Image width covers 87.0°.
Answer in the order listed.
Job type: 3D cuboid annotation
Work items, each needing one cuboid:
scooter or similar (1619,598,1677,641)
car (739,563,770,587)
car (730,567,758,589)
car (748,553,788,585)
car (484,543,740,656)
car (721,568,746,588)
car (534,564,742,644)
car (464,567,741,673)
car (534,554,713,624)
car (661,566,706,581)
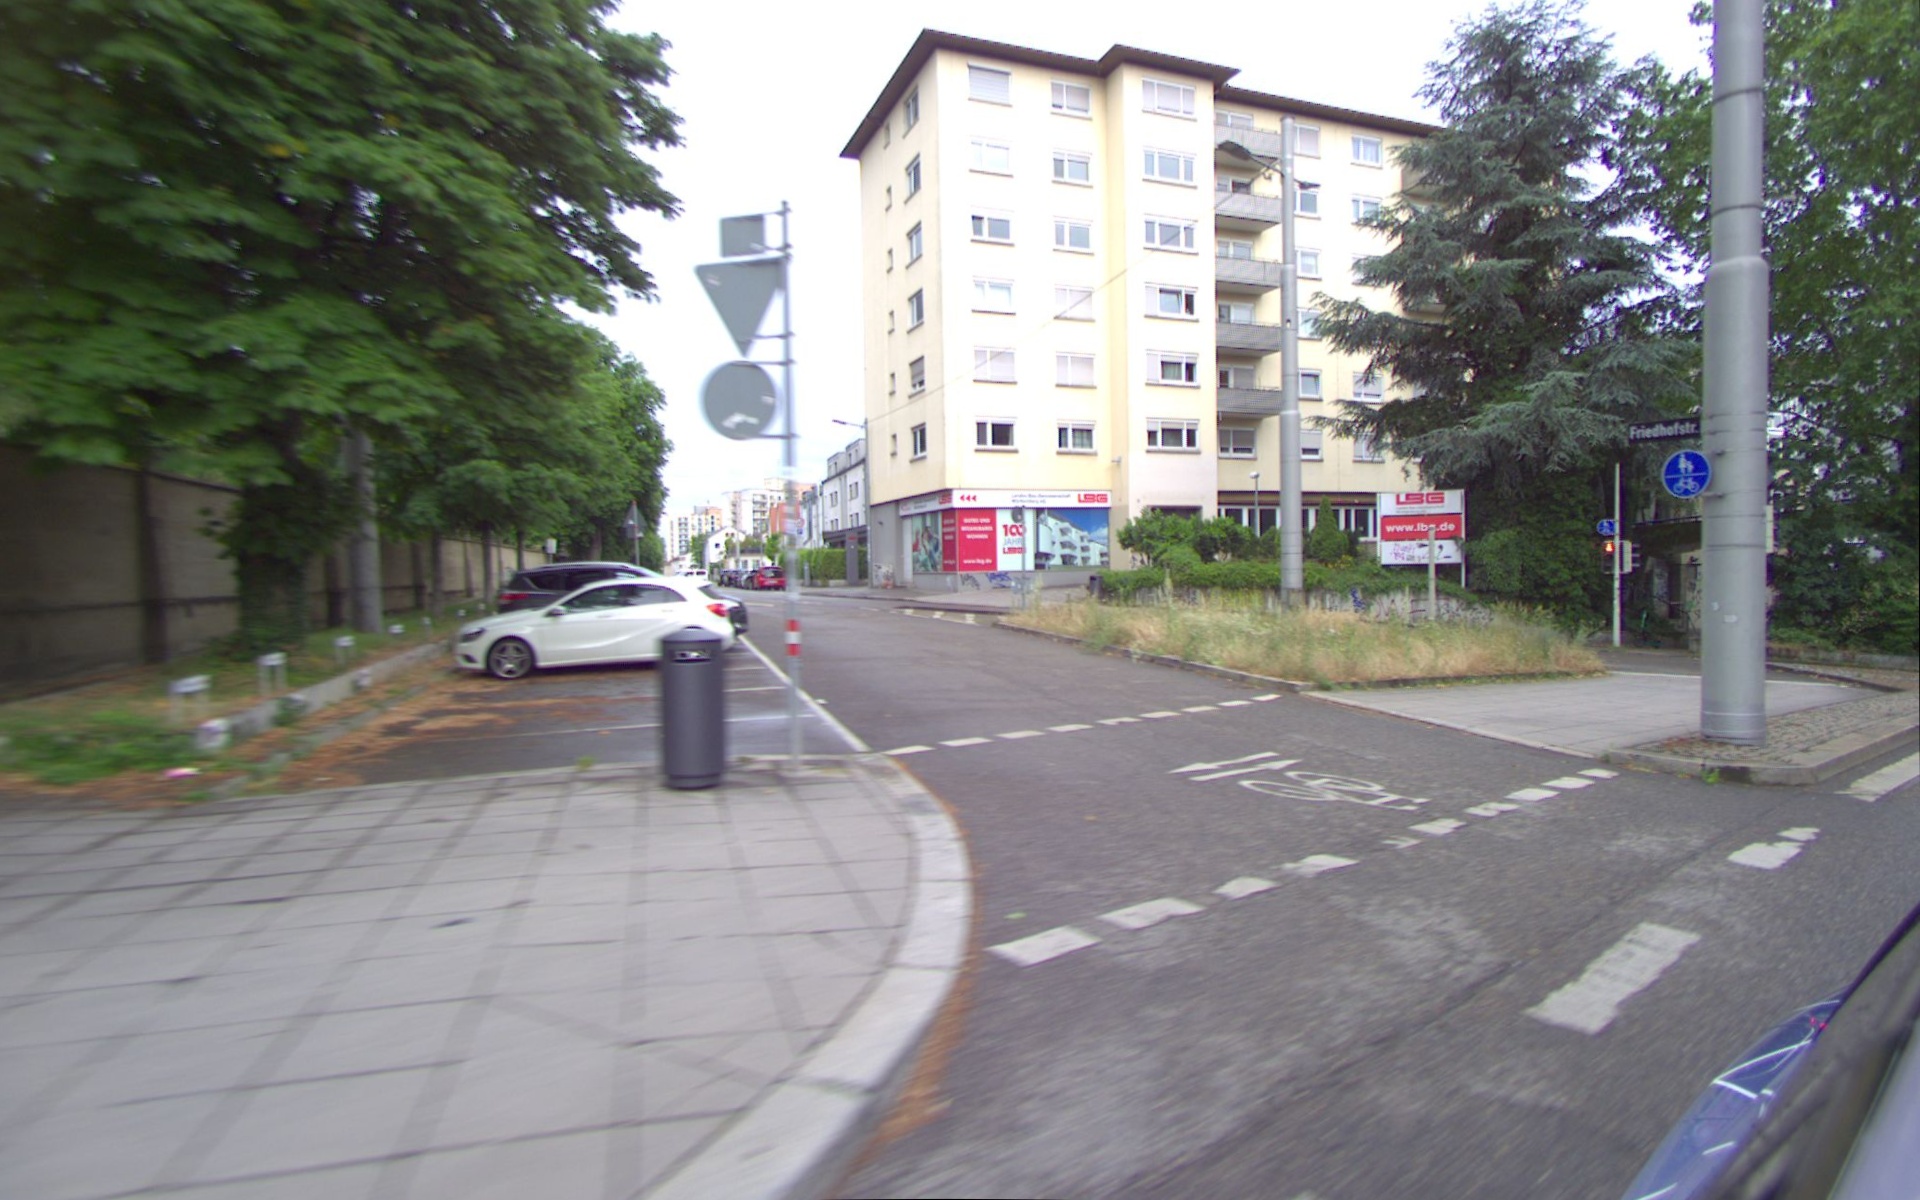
[{"bbox_3d":[21.019,0.606,30.900,1.880,1.233,0.603,2,2,-28],"label":"scooter or similar"},{"bbox_3d":[-14.381,-1.748,70.751,1.762,1.529,4.008,-1,0,-16],"label":"car"},{"bbox_3d":[-16.779,-1.685,78.564,1.762,1.529,4.008,-1,0,-16],"label":"car"},{"bbox_3d":[-11.516,-1.894,60.490,1.812,1.772,4.010,2,2,-18],"label":"car"},{"bbox_3d":[-6.260,-0.073,18.564,4.184,1.825,1.763,-2,3,-15],"label":"car"},{"bbox_3d":[-19.153,-1.832,85.513,1.762,1.529,4.008,-1,0,-16],"label":"car"},{"bbox_3d":[-6.630,0.034,21.141,3.916,1.408,1.794,-2,3,-15],"label":"car"},{"bbox_3d":[-5.577,0.246,16.185,3.916,1.423,1.763,-2,3,-15],"label":"car"},{"bbox_3d":[-8.449,-0.333,25.736,4.130,1.575,1.794,-2,3,-15],"label":"car"},{"bbox_3d":[-30.416,-2.876,111.482,4.421,1.529,1.797,-1,0,-40],"label":"car"}]
